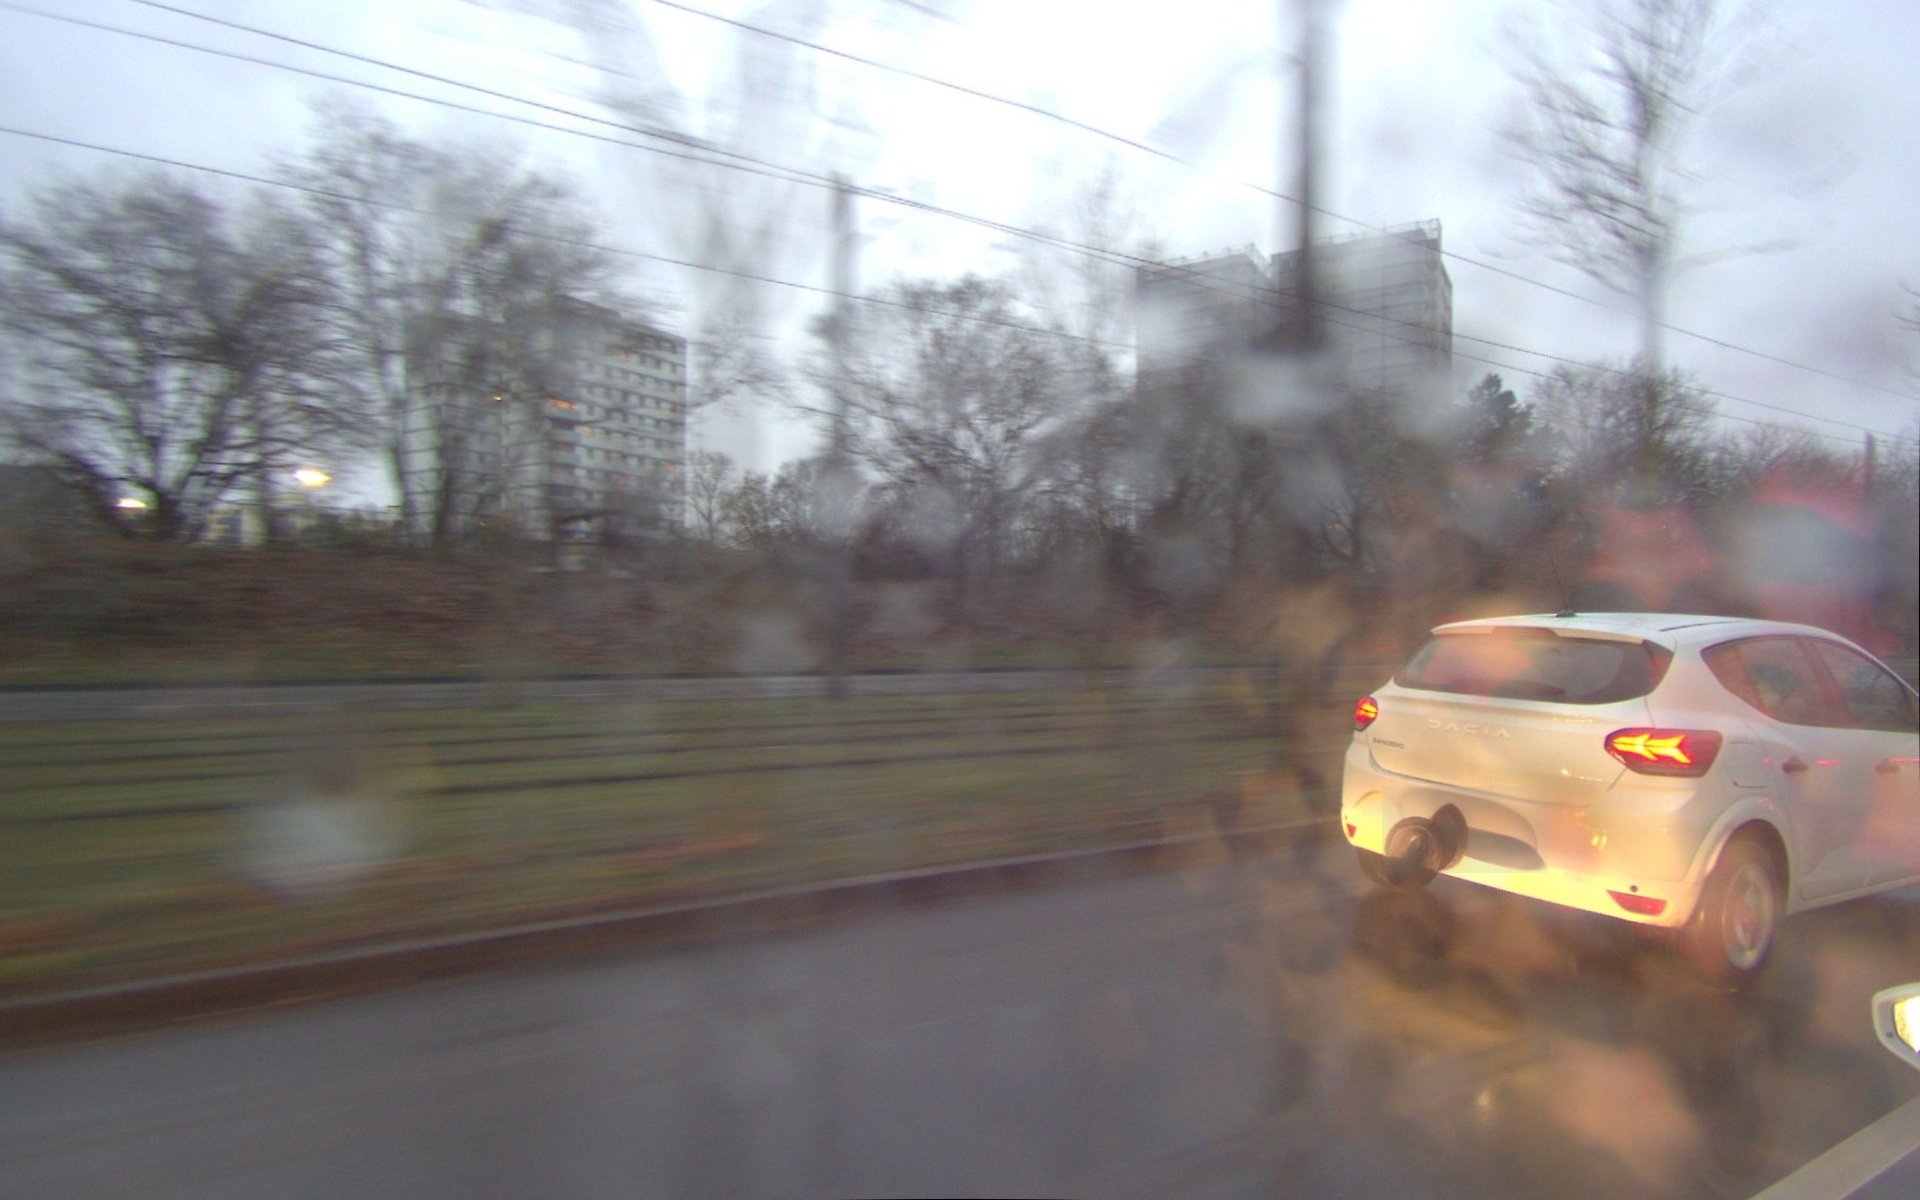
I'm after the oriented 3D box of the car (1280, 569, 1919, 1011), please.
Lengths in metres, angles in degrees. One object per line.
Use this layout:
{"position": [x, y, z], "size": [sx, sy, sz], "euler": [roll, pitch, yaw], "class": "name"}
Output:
{"position": [3.804, 0.717, 5.232], "size": [4.082, 1.545, 1.702], "euler": [1, -1, -27], "class": "car"}
